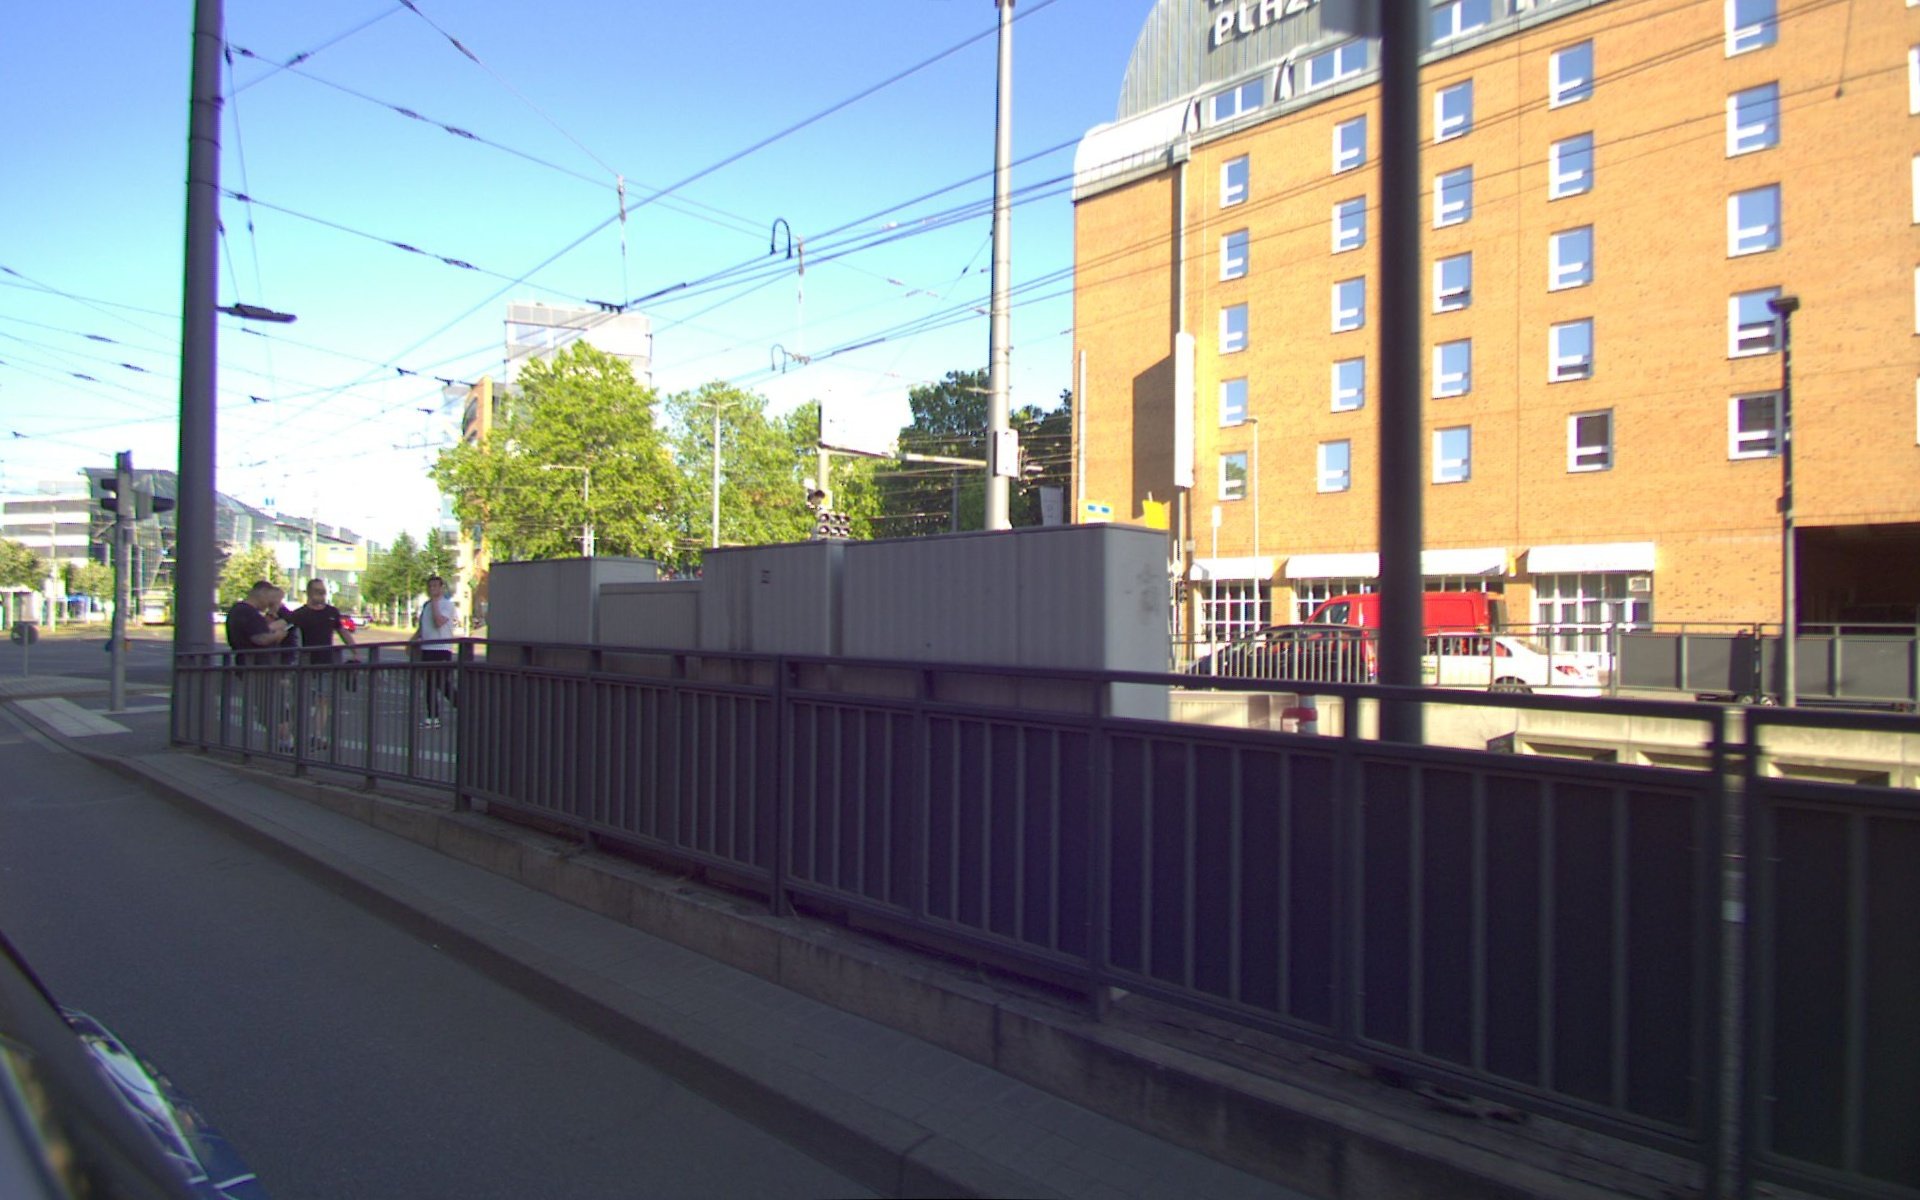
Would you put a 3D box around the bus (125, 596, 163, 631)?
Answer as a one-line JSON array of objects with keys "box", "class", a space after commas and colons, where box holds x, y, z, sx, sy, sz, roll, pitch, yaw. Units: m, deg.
[{"box": [-84.509, 1.510, 104.783, 2.684, 3.434, 9.681, 2, -3, -41], "class": "bus"}]

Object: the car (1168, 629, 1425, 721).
[{"box": [5.928, 1.259, 18.065, 3.998, 1.459, 1.739, -2, -3, 41], "class": "car"}]

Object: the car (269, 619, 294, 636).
[{"box": [-60.346, 2.463, 89.982, 1.609, 1.463, 4.009, 1, -2, -37], "class": "car"}]

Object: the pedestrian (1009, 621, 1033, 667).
[{"box": [2.350, 1.694, 39.011, 0.630, 1.731, 0.780, 1, -1, -19], "class": "pedestrian"}]

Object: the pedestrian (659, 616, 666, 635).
[{"box": [-27.432, 2.339, 93.351, 0.535, 1.682, 0.571, 1, -1, -8], "class": "pedestrian"}]

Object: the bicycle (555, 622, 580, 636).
[{"box": [-29.631, 2.227, 76.366, 1.672, 1.044, 0.550, 2, -2, -38], "class": "bicycle"}]

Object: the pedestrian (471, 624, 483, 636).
[{"box": [-43.447, 2.668, 91.089, 0.681, 1.089, 0.766, -1, -2, 41], "class": "pedestrian"}]

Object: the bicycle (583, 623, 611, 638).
[{"box": [-27.402, 2.326, 76.487, 1.815, 1.138, 0.776, 2, -2, -42], "class": "bicycle"}]

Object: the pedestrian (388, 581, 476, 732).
[{"box": [-6.223, 0.656, 11.960, 0.765, 1.731, 0.643, 1, -1, -14], "class": "pedestrian"}]

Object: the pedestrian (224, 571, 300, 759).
[{"box": [-5.985, 0.544, 8.698, 0.482, 1.550, 0.553, 1, -2, -33], "class": "pedestrian"}]

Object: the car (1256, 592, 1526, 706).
[{"box": [9.624, 1.026, 22.912, 5.262, 2.306, 2.057, 0, -2, 41], "class": "car"}]

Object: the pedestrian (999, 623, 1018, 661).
[{"box": [2.418, 2.101, 50.844, 0.732, 1.909, 0.650, 1, -1, -23], "class": "pedestrian"}]

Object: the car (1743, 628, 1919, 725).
[{"box": [15.715, 1.247, 16.956, 3.998, 1.544, 1.866, -2, -3, 41], "class": "car"}]

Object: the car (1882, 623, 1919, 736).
[{"box": [15.035, 1.067, 13.463, 3.998, 1.544, 1.866, -2, -3, 41], "class": "car"}]

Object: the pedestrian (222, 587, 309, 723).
[{"box": [-9.056, 0.700, 13.204, 0.746, 1.715, 0.619, 0, -2, 27], "class": "pedestrian"}]

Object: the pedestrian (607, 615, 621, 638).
[{"box": [-26.505, 2.044, 77.457, 0.878, 1.778, 0.733, 1, -3, -29], "class": "pedestrian"}]

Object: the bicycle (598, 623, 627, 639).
[{"box": [-25.584, 2.255, 74.552, 1.815, 1.138, 0.776, 2, -2, -42], "class": "bicycle"}]

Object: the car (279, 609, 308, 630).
[{"box": [-80.541, 2.384, 122.332, 1.965, 2.499, 5.994, 1, -2, -25], "class": "car"}]

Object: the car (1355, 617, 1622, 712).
[{"box": [9.604, 1.121, 18.550, 3.998, 1.544, 1.866, -2, -3, 41], "class": "car"}]

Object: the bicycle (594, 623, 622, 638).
[{"box": [-26.203, 2.283, 75.304, 1.815, 1.138, 0.776, 2, -2, -42], "class": "bicycle"}]

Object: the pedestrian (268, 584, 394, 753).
[{"box": [-6.112, 0.640, 9.846, 0.848, 1.550, 0.708, 0, -2, 30], "class": "pedestrian"}]

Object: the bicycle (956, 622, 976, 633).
[{"box": [0.632, 2.814, 104.559, 1.982, 1.075, 0.697, 1, -1, -11], "class": "bicycle"}]

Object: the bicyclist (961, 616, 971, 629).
[{"box": [0.638, 2.345, 104.563, 0.943, 1.355, 0.676, 1, -1, -11], "class": "bicyclist"}]

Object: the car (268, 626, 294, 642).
[{"box": [-72.226, 3.660, 107.664, 1.591, 1.615, 4.189, 4, -4, -24], "class": "car"}]
